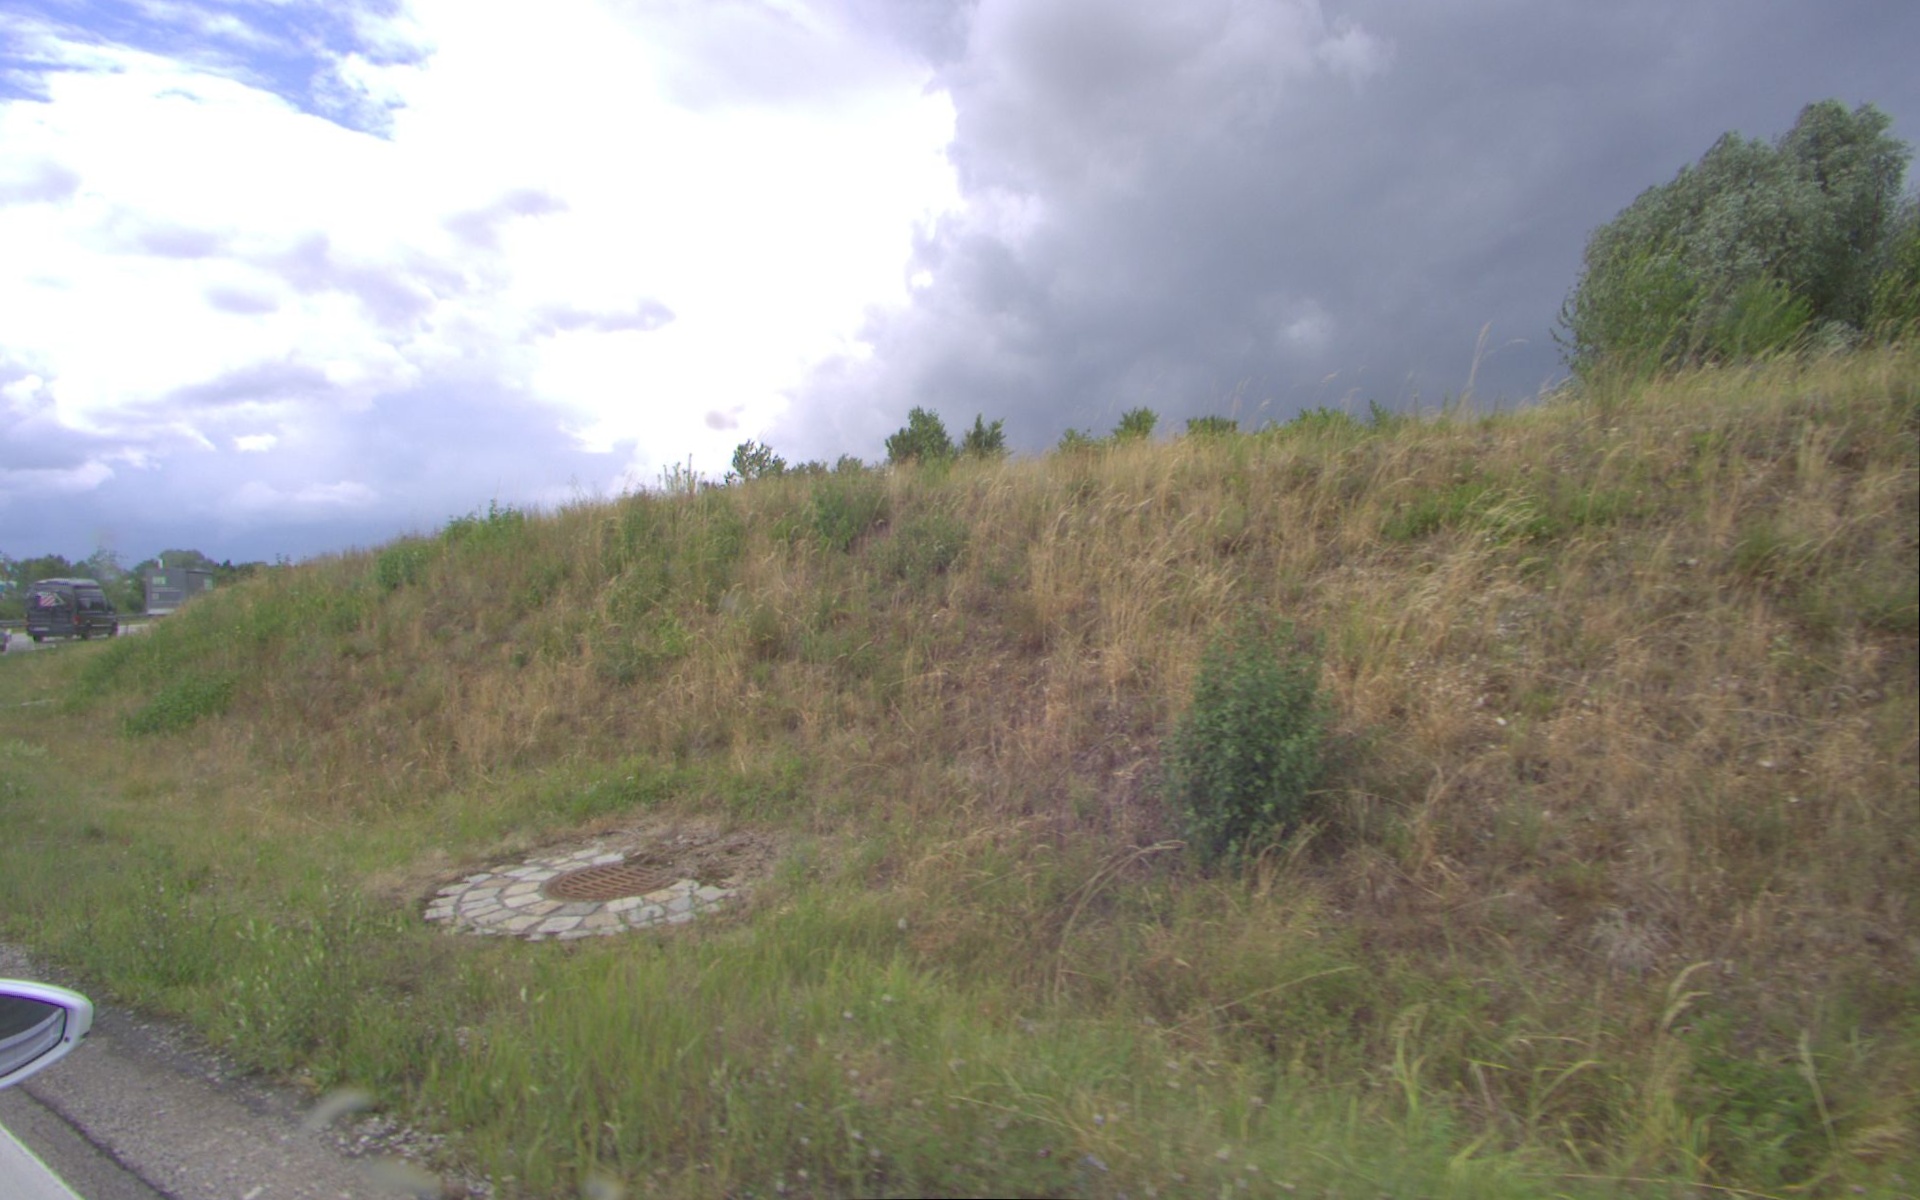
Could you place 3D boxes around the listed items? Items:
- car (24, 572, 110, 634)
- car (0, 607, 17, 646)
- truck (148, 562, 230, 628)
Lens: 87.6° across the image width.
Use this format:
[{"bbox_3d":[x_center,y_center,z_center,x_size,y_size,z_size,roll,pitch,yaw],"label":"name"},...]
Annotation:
[{"bbox_3d":[-42.452,0.208,47.689,2.080,2.832,3.983,1,-1,-27],"label":"car"},{"bbox_3d":[-38.090,1.036,38.458,1.846,1.529,3.980,0,-1,-30],"label":"car"},{"bbox_3d":[-49.550,-0.222,64.505,2.196,3.955,6.008,0,-2,-17],"label":"truck"}]
